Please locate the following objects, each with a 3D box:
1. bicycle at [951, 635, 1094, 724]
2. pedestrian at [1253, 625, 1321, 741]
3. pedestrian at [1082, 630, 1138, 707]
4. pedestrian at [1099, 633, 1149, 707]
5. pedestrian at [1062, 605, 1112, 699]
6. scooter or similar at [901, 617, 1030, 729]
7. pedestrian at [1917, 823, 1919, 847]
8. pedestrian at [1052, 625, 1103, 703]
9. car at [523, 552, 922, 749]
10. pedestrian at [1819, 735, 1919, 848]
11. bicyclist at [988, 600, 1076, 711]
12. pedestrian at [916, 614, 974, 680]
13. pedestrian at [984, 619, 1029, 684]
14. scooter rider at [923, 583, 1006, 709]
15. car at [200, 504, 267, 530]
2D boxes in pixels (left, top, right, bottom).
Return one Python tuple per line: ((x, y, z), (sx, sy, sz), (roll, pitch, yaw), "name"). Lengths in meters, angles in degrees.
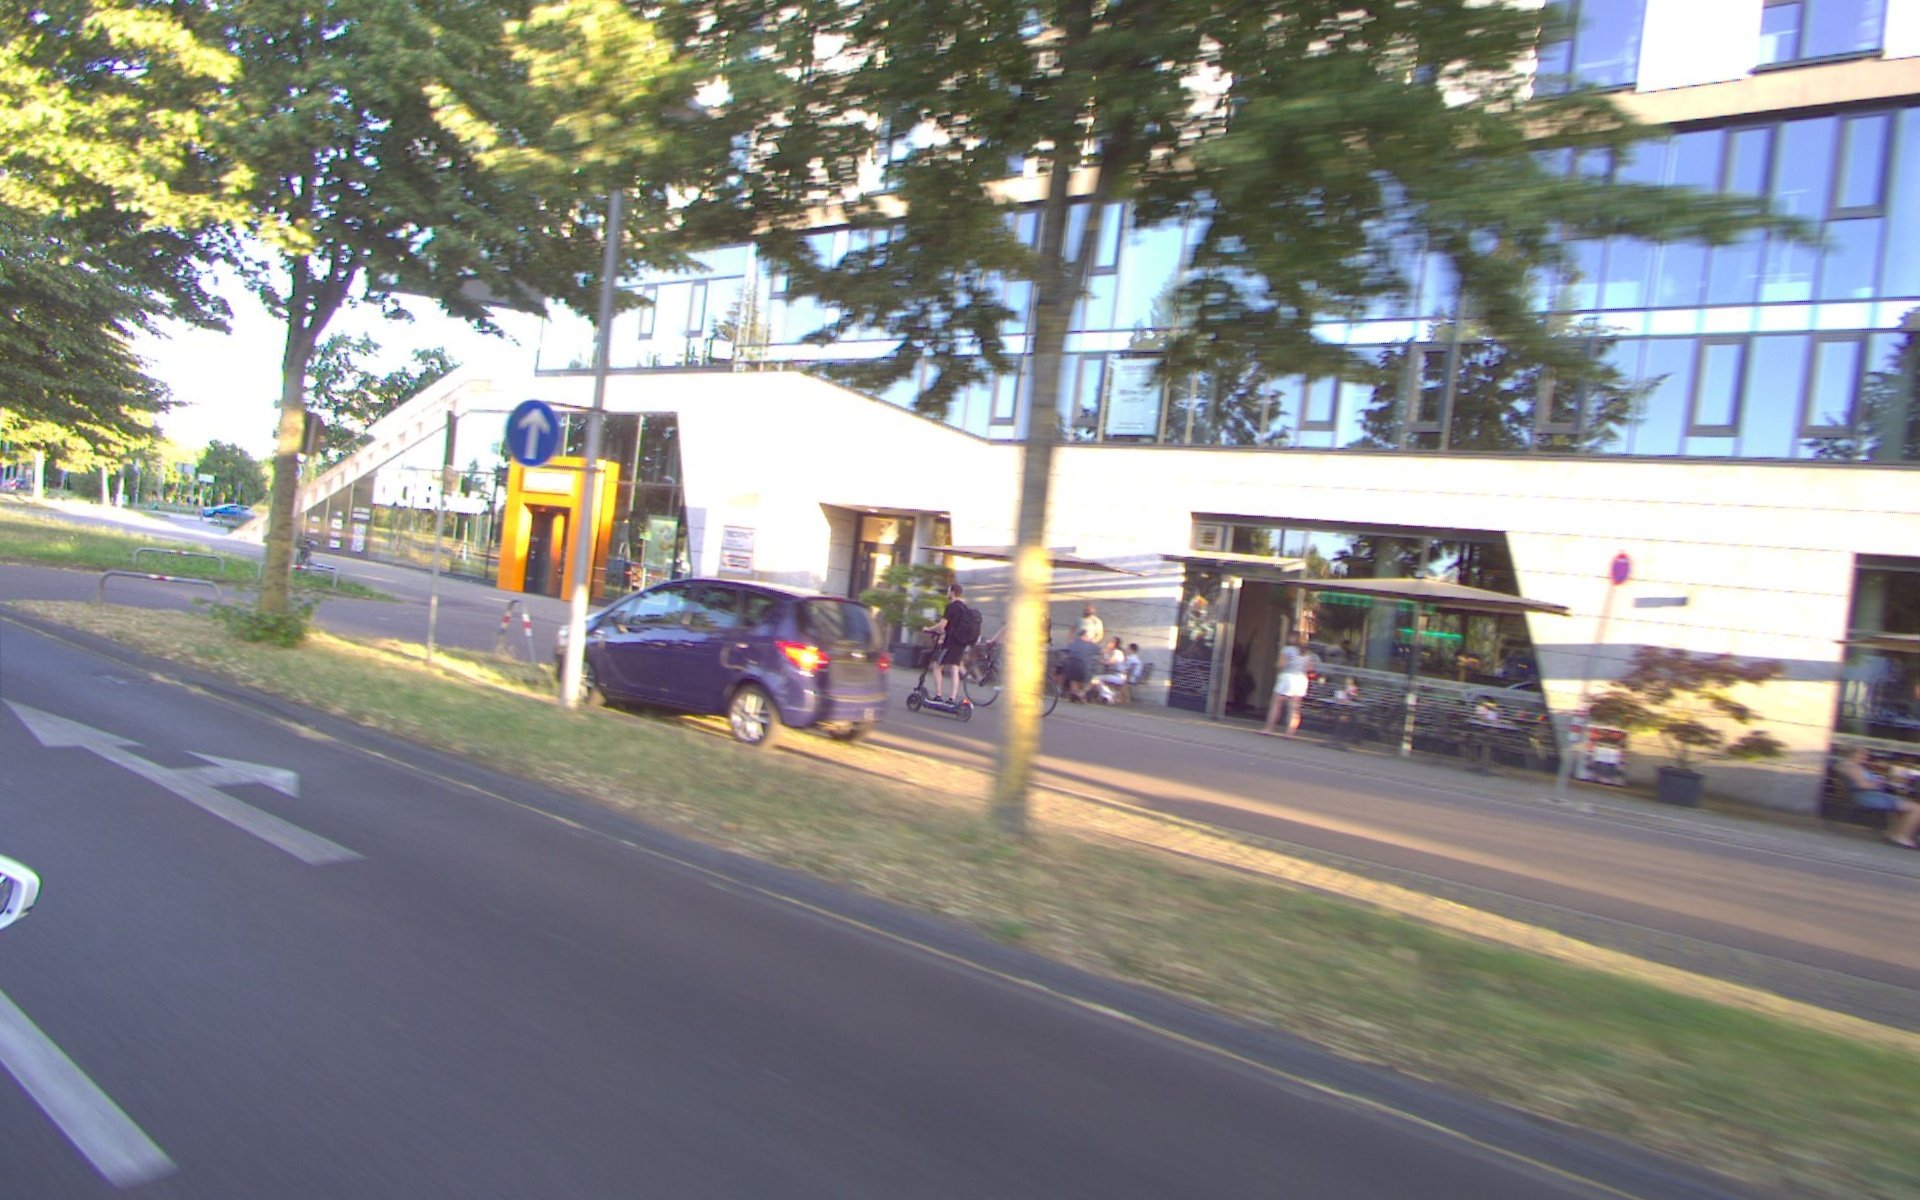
((0.979, 1.234, 15.948), (2.029, 1.093, 0.773), (7, 1, 30), "bicycle")
((5.304, 1.334, 16.370), (0.677, 1.759, 0.705), (7, 1, 2), "pedestrian")
((2.744, 1.242, 18.395), (0.726, 1.298, 0.580), (7, 1, 28), "pedestrian")
((3.103, 1.314, 19.029), (0.725, 1.298, 0.581), (7, 1, 14), "pedestrian")
((2.485, 1.006, 19.639), (0.686, 1.739, 0.636), (7, 1, 13), "pedestrian")
((0.068, 1.008, 14.159), (1.636, 1.327, 0.526), (7, 1, 30), "scooter or similar")
((12.137, 2.470, 12.034), (0.794, 1.210, 0.572), (8, 1, 35), "pedestrian")
((2.110, 1.133, 18.026), (0.703, 1.298, 0.628), (7, 1, 11), "pedestrian")
((-2.676, 0.481, 11.110), (4.088, 1.484, 1.760), (7, 0, 30), "car")
((11.378, 2.363, 12.558), (0.793, 1.210, 0.572), (8, 1, 33), "pedestrian")
((1.135, 0.869, 15.860), (0.975, 1.586, 0.773), (8, 1, 30), "bicyclist")
((-0.299, 0.947, 20.229), (0.847, 1.201, 0.572), (8, 1, 34), "pedestrian")
((0.932, 1.033, 20.260), (0.708, 1.201, 0.614), (7, 1, -4), "pedestrian")
((0.064, 0.648, 14.177), (0.818, 1.659, 0.526), (8, 1, 30), "scooter rider")
((-63.801, -7.300, 88.368), (1.891, 1.504, 4.420), (7, 0, 42), "car")
